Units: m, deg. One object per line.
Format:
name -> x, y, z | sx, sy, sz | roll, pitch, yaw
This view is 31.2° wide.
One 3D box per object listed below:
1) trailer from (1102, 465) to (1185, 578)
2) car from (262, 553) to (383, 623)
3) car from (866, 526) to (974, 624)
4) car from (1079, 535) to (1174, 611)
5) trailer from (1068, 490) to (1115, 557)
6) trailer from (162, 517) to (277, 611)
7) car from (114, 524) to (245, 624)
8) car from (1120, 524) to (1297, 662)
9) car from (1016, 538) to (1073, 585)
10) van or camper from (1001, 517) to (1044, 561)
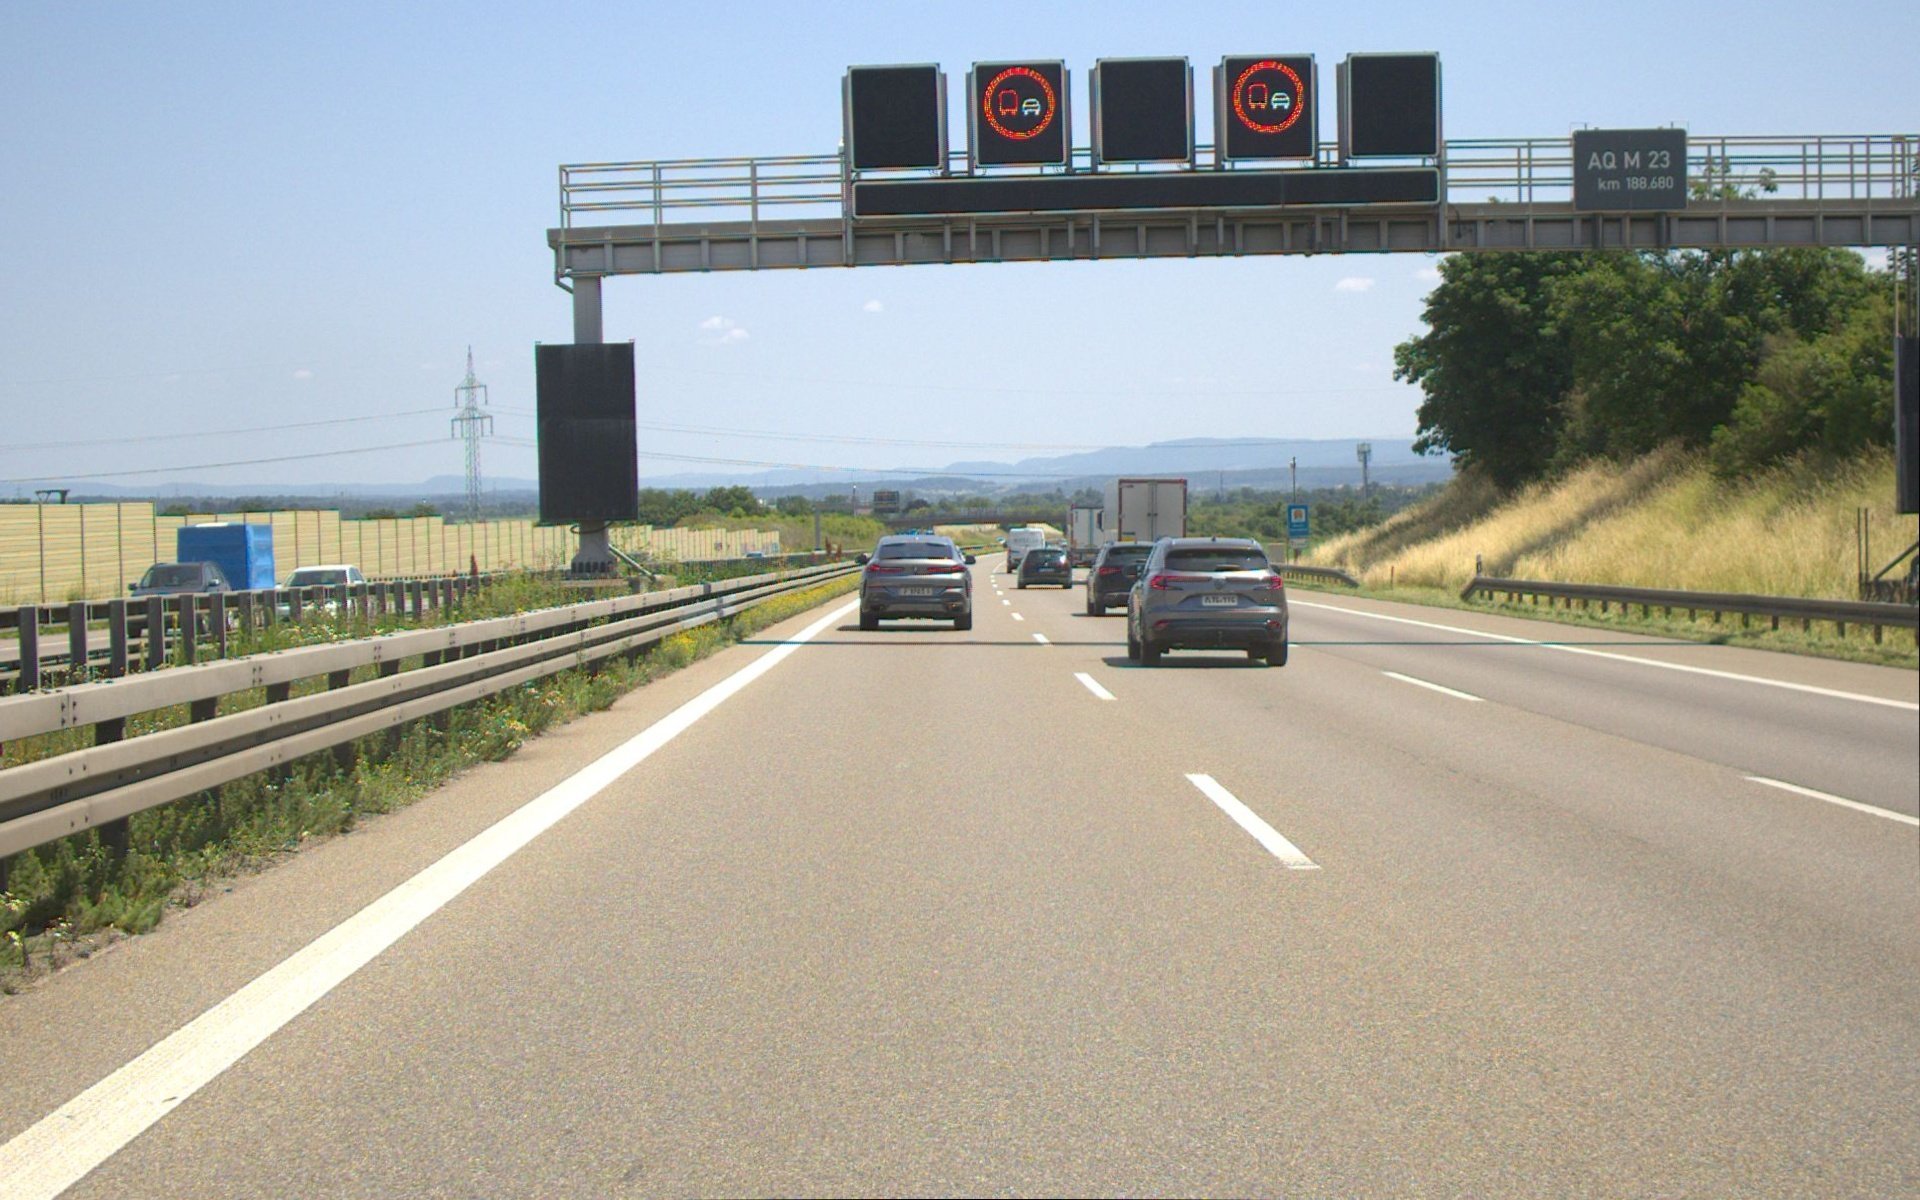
trailer -> 7.156, -2.992, 135.432 | 2.868, 4.205, 13.294 | 1, 1, 2
car -> -14.336, -0.284, 77.534 | 1.893, 1.426, 4.725 | -4, 1, -1
car -> -0.708, -0.451, 61.438 | 1.851, 1.658, 3.735 | 1, 1, -1
car -> 3.556, -0.588, 73.851 | 1.796, 1.556, 3.824 | 1, 1, -1
trailer -> 8.693, -4.997, 226.361 | 2.943, 4.184, 13.595 | 1, 1, 2
trailer -> -18.190, -0.877, 84.628 | 1.993, 2.230, 4.205 | 1, 1, -1
car -> -18.108, -0.628, 79.954 | 1.993, 2.217, 5.098 | 1, 1, -1
car -> 3.123, -0.108, 44.010 | 1.851, 1.643, 4.645 | 1, 1, -1
car -> 2.939, -1.335, 119.020 | 1.933, 1.569, 4.934 | 1, 1, 2
van or camper -> 3.311, -3.181, 179.990 | 2.111, 2.204, 5.265 | 1, 1, 2
